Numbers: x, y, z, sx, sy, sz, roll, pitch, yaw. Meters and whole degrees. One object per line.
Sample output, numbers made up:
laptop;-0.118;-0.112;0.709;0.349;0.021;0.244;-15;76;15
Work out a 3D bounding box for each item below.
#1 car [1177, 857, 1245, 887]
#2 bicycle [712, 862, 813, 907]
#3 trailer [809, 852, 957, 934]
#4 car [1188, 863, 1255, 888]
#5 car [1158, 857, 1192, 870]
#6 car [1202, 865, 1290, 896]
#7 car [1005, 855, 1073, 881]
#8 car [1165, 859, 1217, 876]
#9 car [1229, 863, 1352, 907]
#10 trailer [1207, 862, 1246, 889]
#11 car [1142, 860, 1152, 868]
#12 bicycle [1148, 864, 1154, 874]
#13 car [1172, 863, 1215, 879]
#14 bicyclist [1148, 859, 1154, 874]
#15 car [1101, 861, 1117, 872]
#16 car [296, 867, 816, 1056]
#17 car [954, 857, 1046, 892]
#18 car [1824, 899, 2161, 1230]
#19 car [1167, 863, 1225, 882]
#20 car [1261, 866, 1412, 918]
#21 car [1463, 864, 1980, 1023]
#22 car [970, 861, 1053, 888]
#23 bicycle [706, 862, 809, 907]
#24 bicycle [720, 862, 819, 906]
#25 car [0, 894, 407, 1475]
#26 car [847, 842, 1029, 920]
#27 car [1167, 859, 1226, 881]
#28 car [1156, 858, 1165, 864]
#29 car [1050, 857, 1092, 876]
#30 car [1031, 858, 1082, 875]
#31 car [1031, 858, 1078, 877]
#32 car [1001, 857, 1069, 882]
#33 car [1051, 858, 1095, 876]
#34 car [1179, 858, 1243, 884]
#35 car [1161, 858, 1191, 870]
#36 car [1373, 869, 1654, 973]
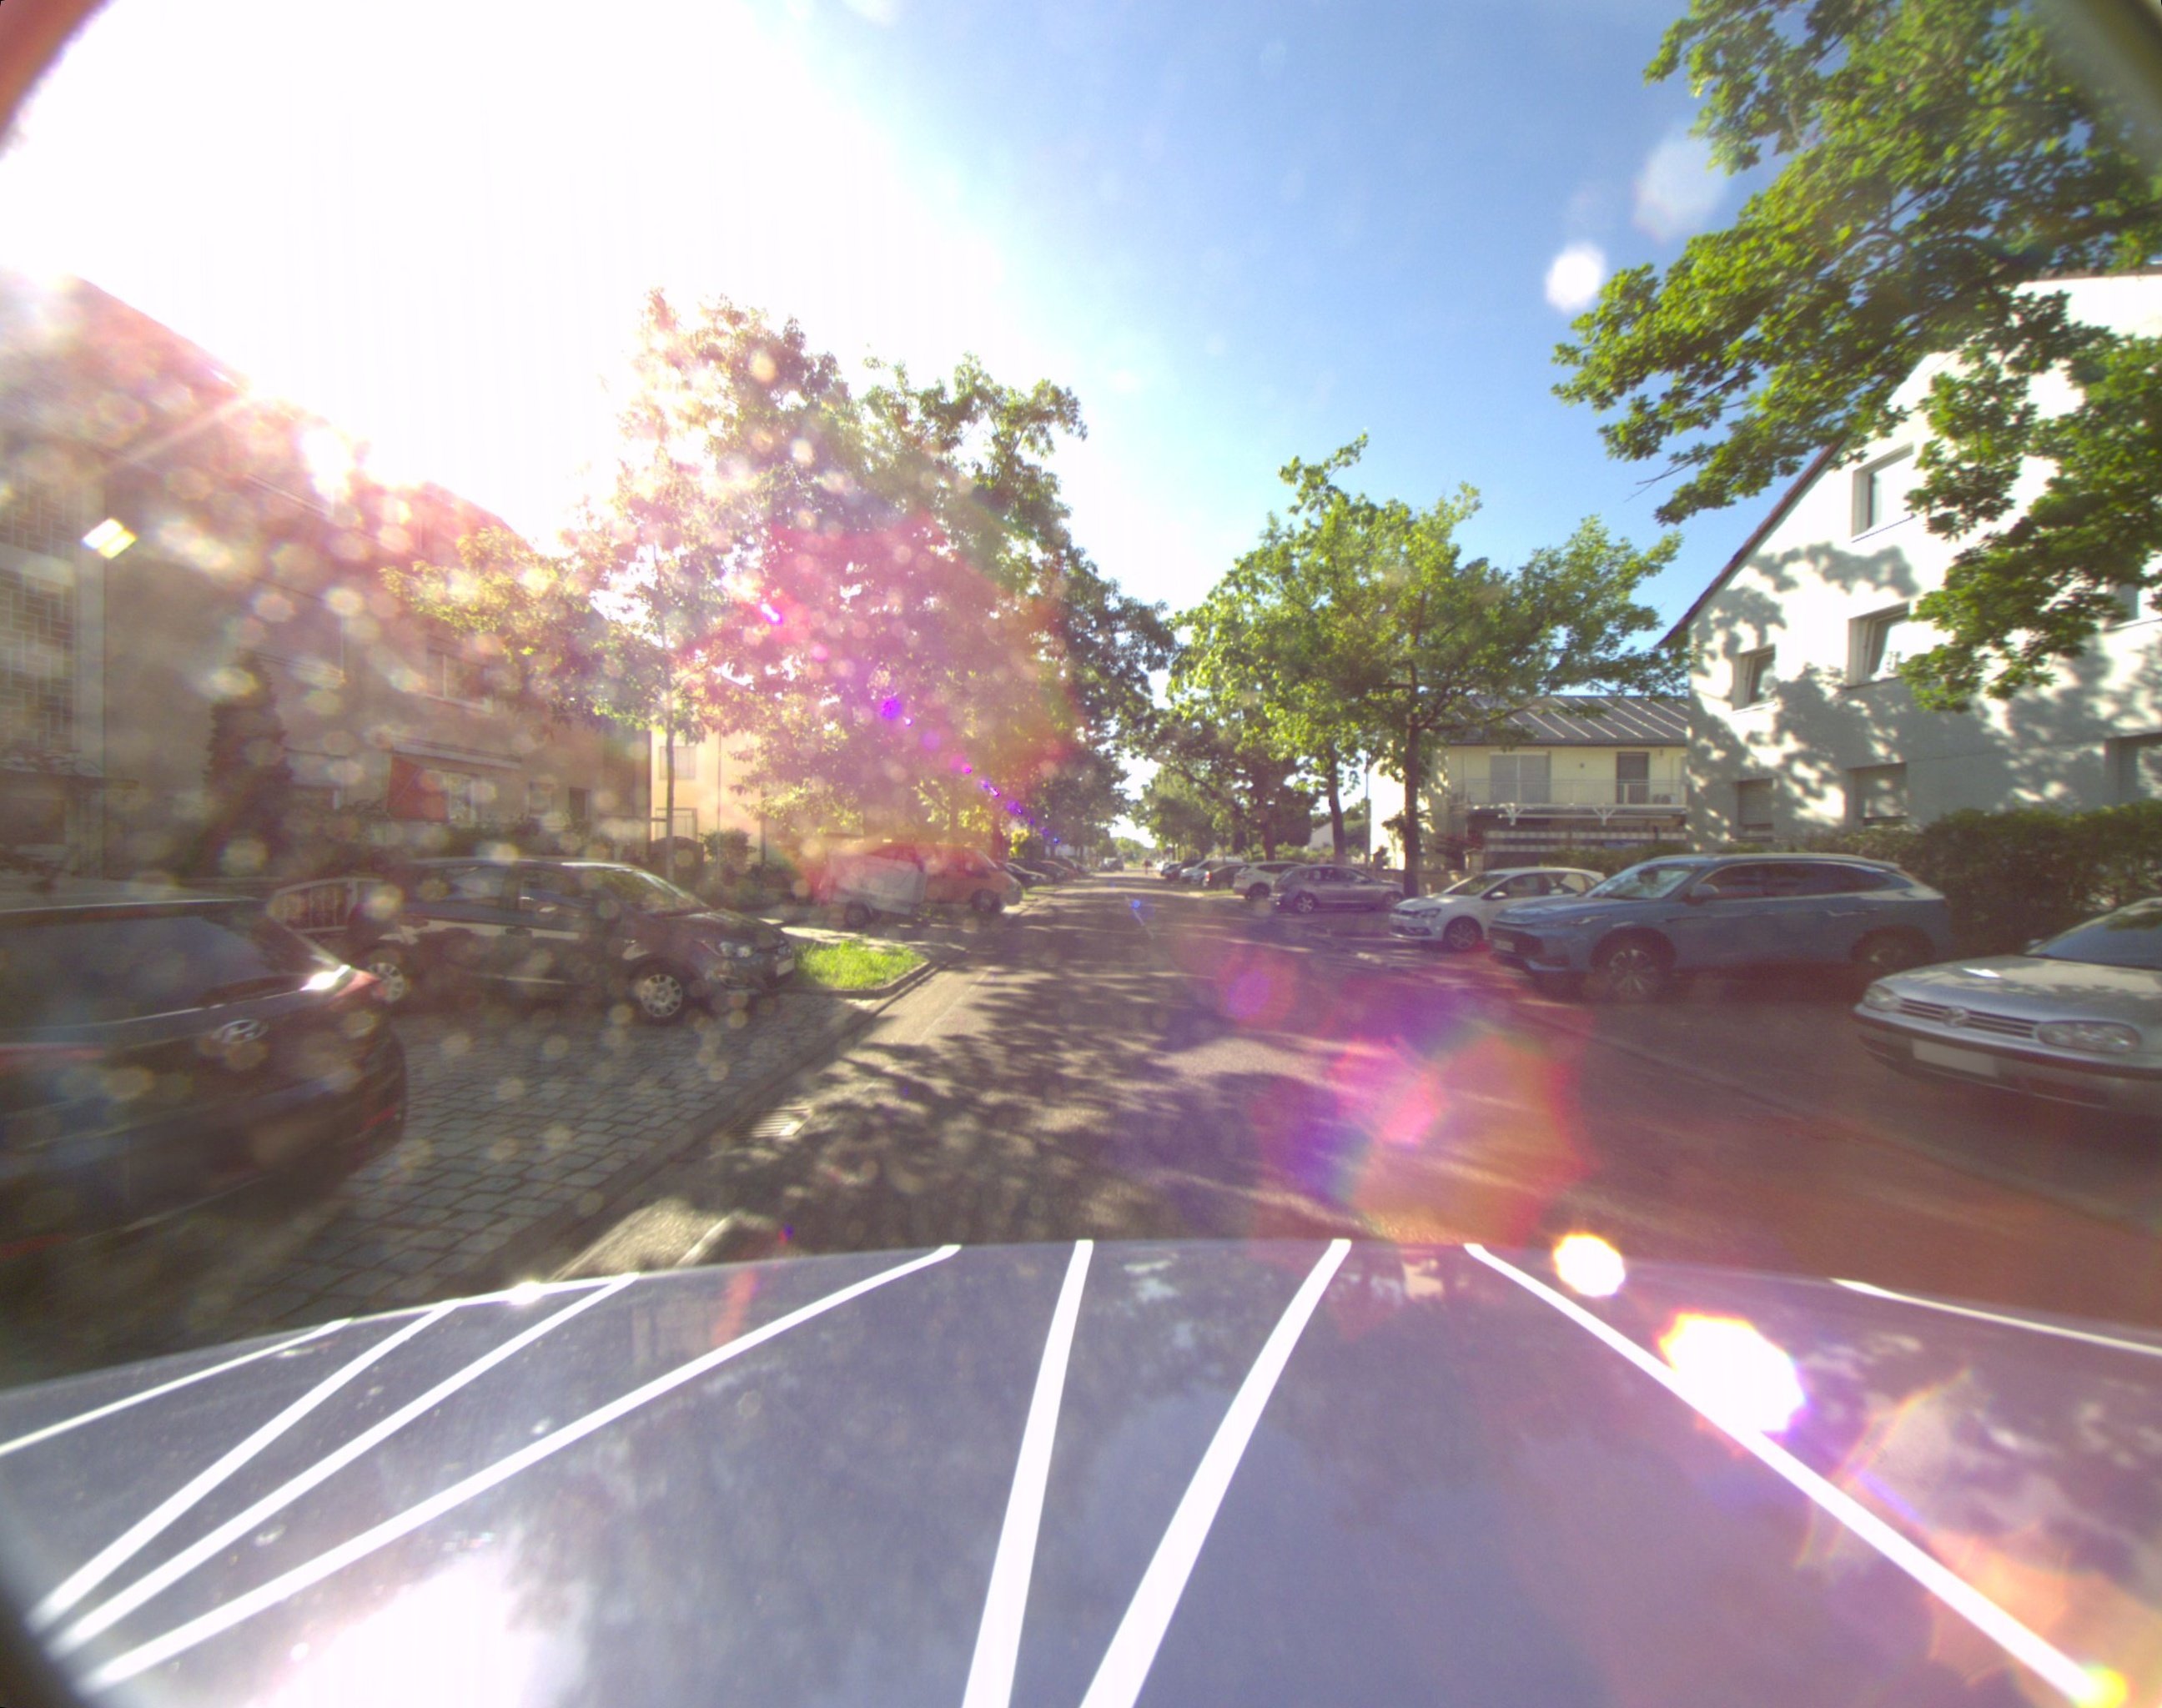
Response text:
car;8.835;1.225;51.925;4.247;1.932;2.000;1;0;0
bicycle;-9.642;0.927;23.009;2.865;1.230;0.468;2;1;2
trailer;-4.435;0.859;17.331;2.954;1.654;1.614;2;1;-4
car;9.034;1.386;49.169;3.997;1.507;1.690;1;0;-1
car;11.845;1.179;96.055;3.964;1.565;1.921;-1;1;-3
car;8.418;1.349;39.085;4.219;1.463;1.691;0;0;5
car;-2.909;1.001;53.700;4.584;1.637;1.838;2;0;2
car;9.695;1.216;67.152;4.283;1.416;1.723;-1;0;-2
car;7.898;1.157;28.896;4.197;1.557;1.792;-1;0;3
trailer;8.956;1.312;46.896;2.240;1.664;1.475;0;0;6
car;13.456;1.979;155.183;1.741;1.531;3.949;1;0;8
bicycle;7.884;1.637;85.580;0.598;1.052;1.987;3;0;3
car;11.132;1.681;75.351;4.010;1.506;1.796;1;0;5
bicyclist;7.893;1.414;85.641;0.597;1.664;0.975;3;0;3
car;3.766;1.651;102.172;1.877;1.469;3.852;1;0;6
car;-4.985;0.987;7.676;3.997;1.614;1.757;1;1;-1
car;-4.025;1.007;38.193;4.348;1.551;1.868;2;0;1
car;7.257;1.052;4.437;4.192;1.483;1.647;-1;0;1
car;9.307;1.472;61.617;4.487;1.491;1.837;1;0;3
car;7.851;1.152;23.606;4.044;1.415;1.810;-2;0;0
car;7.403;0.971;9.223;4.534;1.621;1.938;1;0;3
car;-3.946;1.139;43.339;4.437;1.323;1.691;2;0;4
bicycle;-9.577;0.891;22.510;2.865;1.230;0.468;2;0;2
bicycle;-9.617;0.920;23.495;2.865;1.230;0.468;2;1;2
car;-4.908;0.938;2.528;3.891;1.507;1.661;1;1;2
car;-4.035;0.753;22.072;4.830;2.071;2.086;1;0;2
car;9.725;1.359;64.242;4.684;1.758;1.795;-1;0;2
car;17.912;1.549;170.958;1.764;1.390;3.853;3;0;6
car;-1.037;1.274;78.873;4.221;1.771;1.790;2;0;4
car;-2.251;1.146;69.971;4.512;1.437;1.839;2;0;4
car;-2.264;1.109;65.384;3.785;1.475;1.756;2;1;4
car;-3.038;1.040;50.773;4.330;1.520;1.841;2;0;2
car;-0.834;1.344;81.805;4.513;1.669;1.879;3;1;3
car;9.316;1.195;54.663;4.249;1.759;1.967;-1;0;0
car;11.724;1.252;93.889;3.522;1.487;1.708;0;0;2
car;7.707;1.157;13.869;3.996;1.586;1.857;2;1;2
